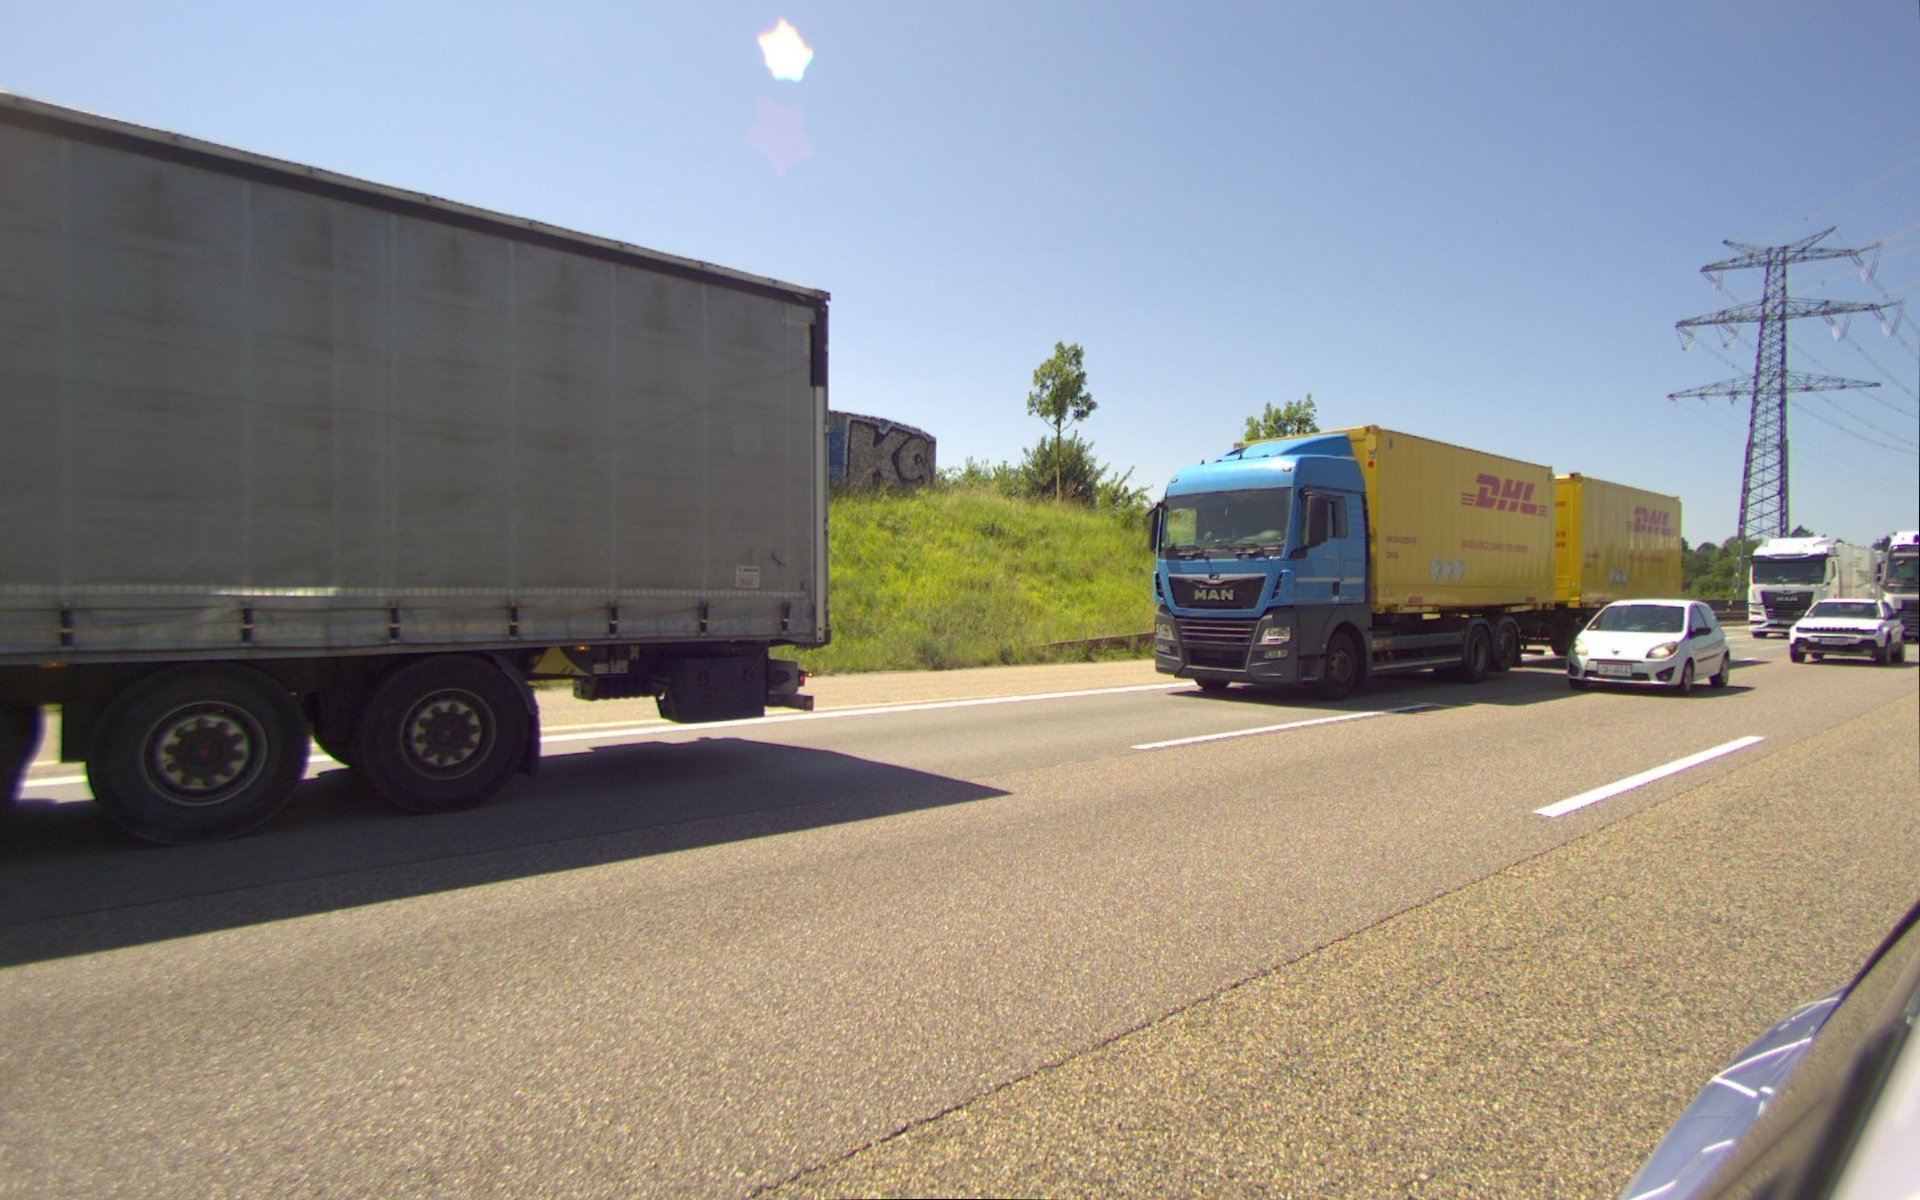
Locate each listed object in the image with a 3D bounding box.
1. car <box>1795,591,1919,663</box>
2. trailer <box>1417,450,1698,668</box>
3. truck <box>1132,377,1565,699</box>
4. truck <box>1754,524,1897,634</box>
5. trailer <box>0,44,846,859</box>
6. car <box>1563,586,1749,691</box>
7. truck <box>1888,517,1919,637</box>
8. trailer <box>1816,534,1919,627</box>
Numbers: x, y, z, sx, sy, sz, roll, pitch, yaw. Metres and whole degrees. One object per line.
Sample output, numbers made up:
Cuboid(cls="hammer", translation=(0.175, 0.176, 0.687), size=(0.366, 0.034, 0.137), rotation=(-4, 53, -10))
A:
Cuboid(cls="car", translation=(21.520, 0.570, 24.142), size=(3.783, 1.549, 1.775), rotation=(-1, 1, -39))
Cuboid(cls="trailer", translation=(14.109, -0.765, 23.448), size=(9.210, 4.170, 2.770), rotation=(1, -1, -40))
Cuboid(cls="truck", translation=(7.146, -0.781, 17.379), size=(9.779, 4.162, 2.769), rotation=(1, -1, -42))
Cuboid(cls="truck", translation=(35.353, -0.789, 41.129), size=(11.097, 3.980, 2.694), rotation=(0, 0, -40))
Cuboid(cls="trailer", translation=(-7.025, -0.760, 5.156), size=(13.509, 4.101, 2.968), rotation=(0, 0, -41))
Cuboid(cls="car", translation=(11.573, 0.545, 16.752), size=(3.759, 1.529, 1.658), rotation=(-1, 1, -41))
Cuboid(cls="truck", translation=(38.421, -0.787, 38.483), size=(13.999, 4.090, 2.717), rotation=(0, 0, -40))
Cuboid(cls="trailer", translation=(42.520, -0.853, 47.187), size=(7.636, 3.991, 2.750), rotation=(0, 0, -40))
